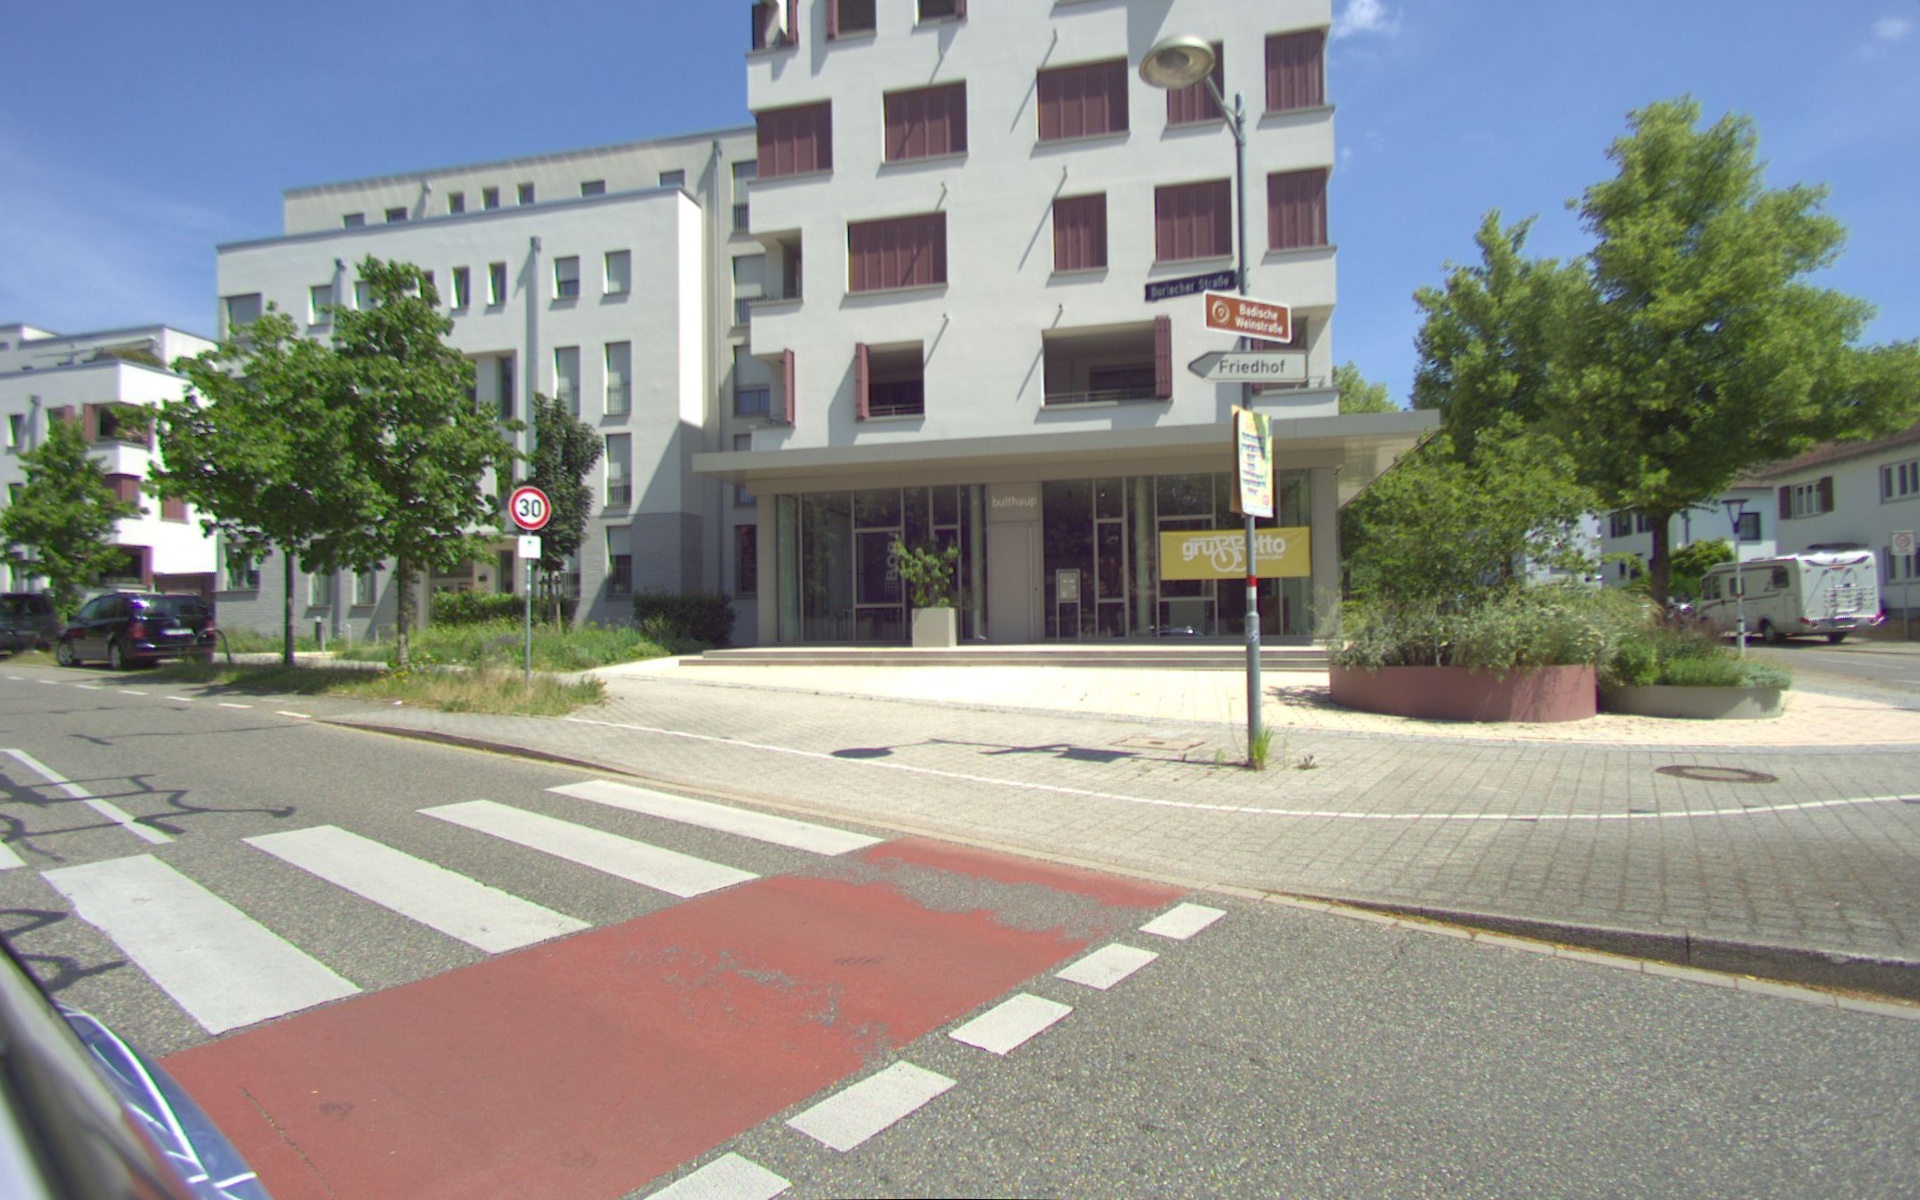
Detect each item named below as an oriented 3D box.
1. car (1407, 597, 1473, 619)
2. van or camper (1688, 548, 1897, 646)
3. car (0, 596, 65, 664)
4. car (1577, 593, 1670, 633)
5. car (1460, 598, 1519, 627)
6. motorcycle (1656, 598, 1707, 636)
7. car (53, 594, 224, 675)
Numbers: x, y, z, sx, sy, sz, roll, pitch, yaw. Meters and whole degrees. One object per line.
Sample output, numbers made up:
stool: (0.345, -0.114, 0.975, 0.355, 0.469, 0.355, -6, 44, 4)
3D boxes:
car: (35.880, 0.629, 75.744, 4.067, 1.621, 1.814, 0, 0, 4)
van or camper: (25.626, -0.068, 31.543, 2.249, 2.658, 5.868, -3, -1, 9)
car: (-25.617, 0.761, 26.939, 3.614, 1.713, 1.682, 0, 0, 31)
car: (27.011, 0.529, 41.349, 1.737, 1.516, 3.979, -1, -1, 11)
car: (29.381, 0.680, 56.262, 1.737, 1.516, 3.979, -1, -1, 11)
motorcycle: (26.384, 0.607, 36.988, 2.196, 1.329, 0.742, 0, 0, -33)
car: (-18.103, 0.711, 22.276, 4.006, 1.650, 1.682, 0, 0, 31)
